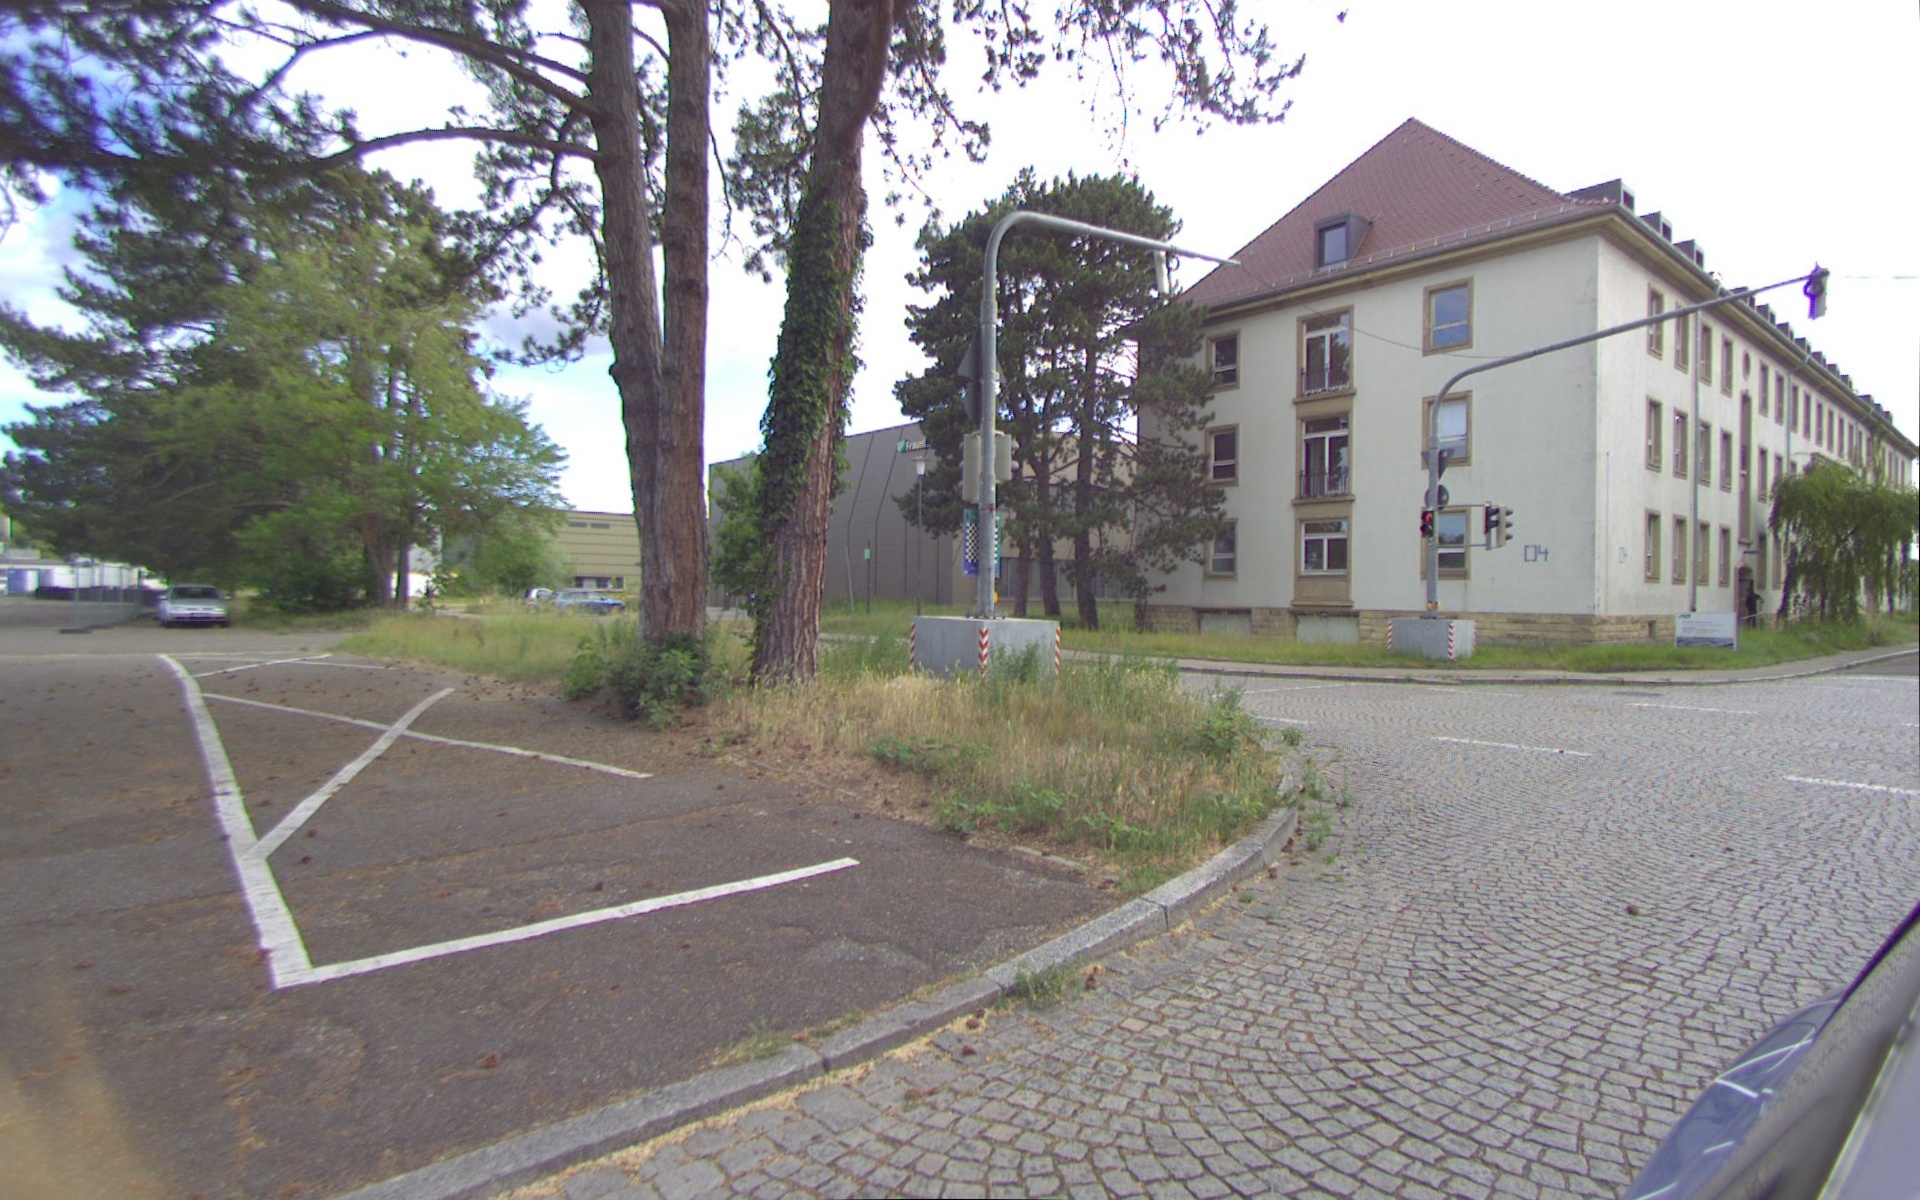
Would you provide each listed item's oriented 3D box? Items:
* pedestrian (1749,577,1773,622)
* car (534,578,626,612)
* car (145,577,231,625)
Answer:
[{"bbox_3d":[30.579,-0.018,38.638,0.522,1.722,0.569,1,0,-37],"label":"pedestrian"},{"bbox_3d":[-21.414,-0.263,57.113,4.399,1.854,1.997,0,1,-42],"label":"car"},{"bbox_3d":[-25.932,0.010,33.942,1.939,1.501,3.992,0,1,-43],"label":"car"}]
